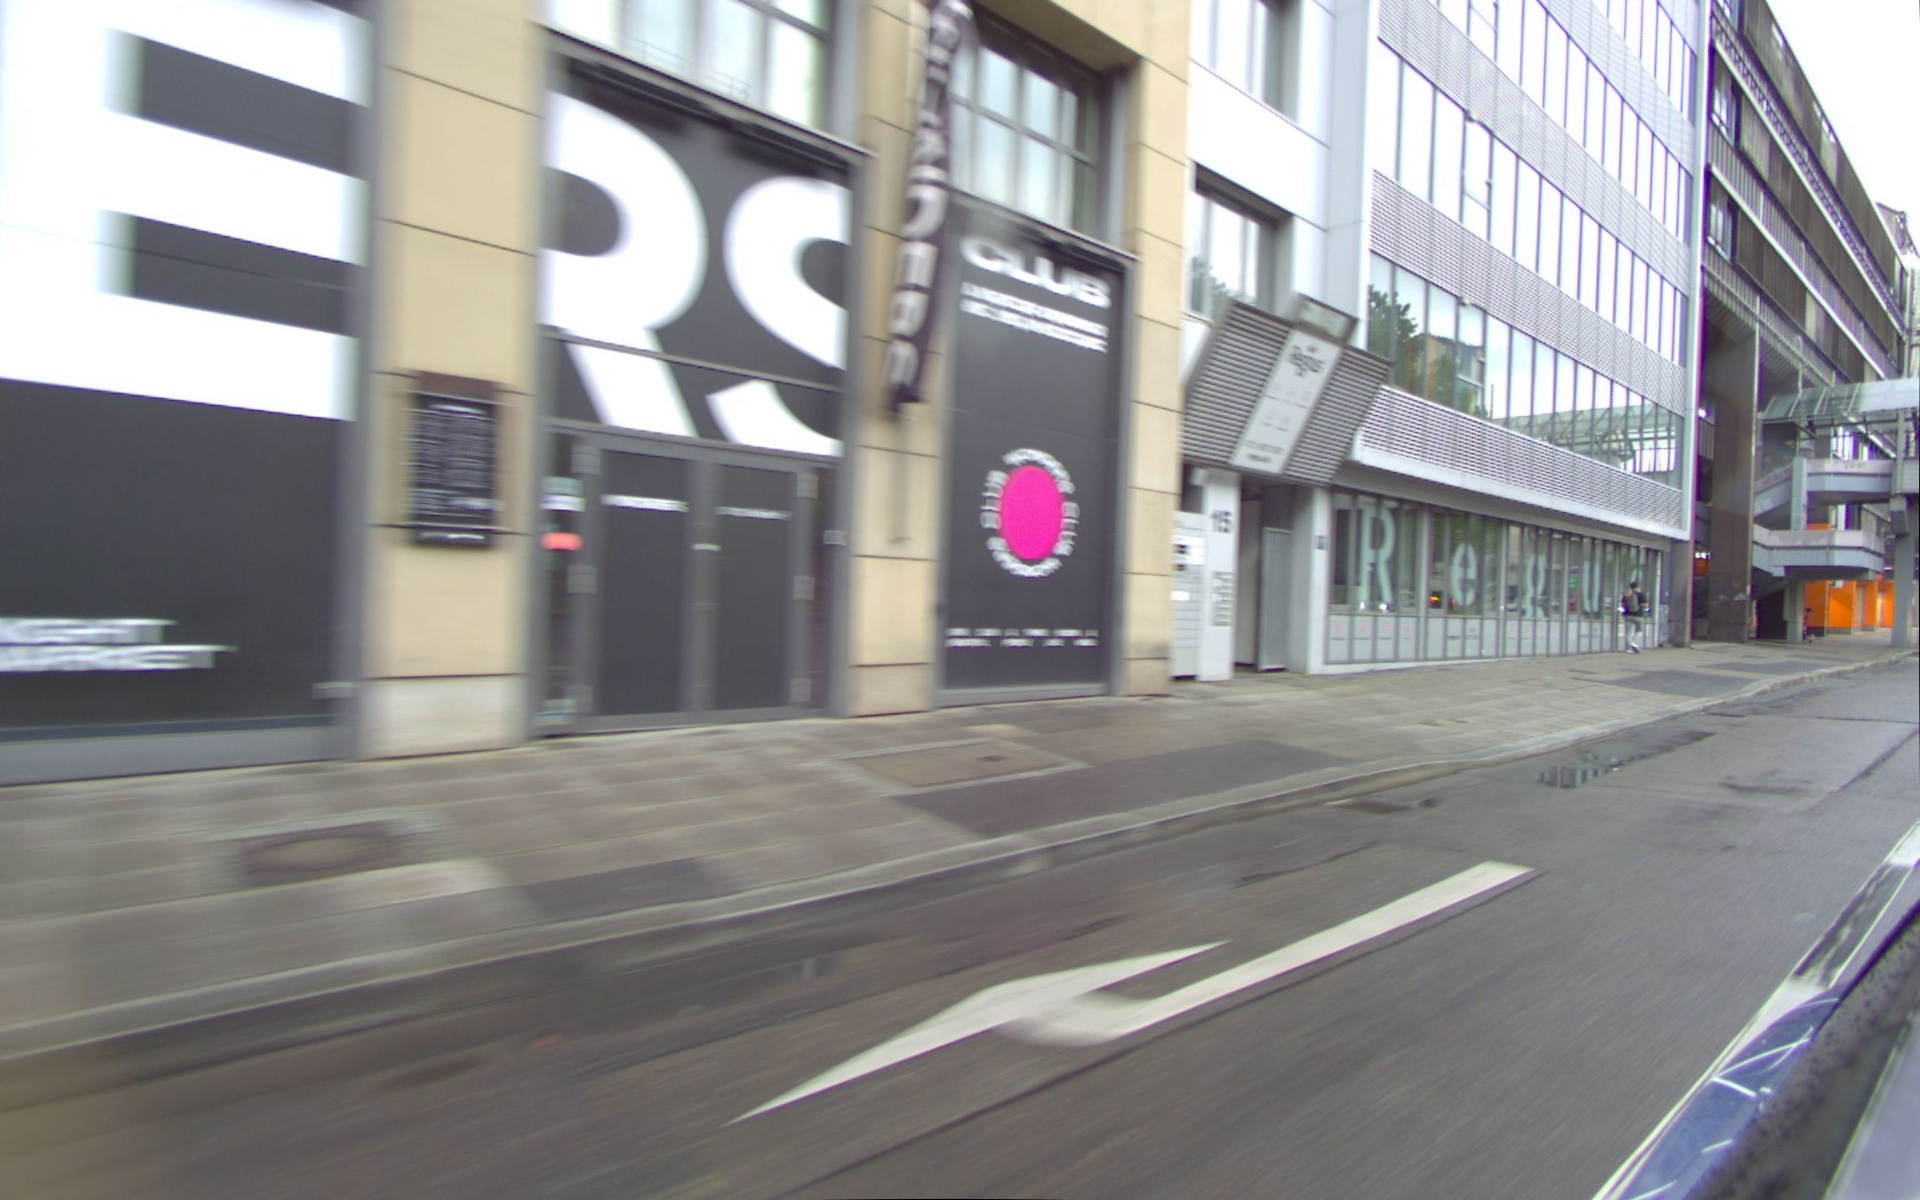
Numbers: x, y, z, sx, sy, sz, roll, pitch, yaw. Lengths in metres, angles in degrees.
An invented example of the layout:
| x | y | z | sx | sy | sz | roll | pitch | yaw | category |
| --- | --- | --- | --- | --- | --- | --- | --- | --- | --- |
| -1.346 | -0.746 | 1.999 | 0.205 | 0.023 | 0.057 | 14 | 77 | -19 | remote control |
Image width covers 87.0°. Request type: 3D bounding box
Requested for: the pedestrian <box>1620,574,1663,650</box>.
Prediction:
| x | y | z | sx | sy | sz | roll | pitch | yaw | category |
| --- | --- | --- | --- | --- | --- | --- | --- | --- | --- |
| 17.027 | 0.296 | 25.283 | 0.751 | 1.855 | 0.728 | 1 | 0 | -41 | pedestrian |

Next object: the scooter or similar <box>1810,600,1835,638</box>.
| x | y | z | sx | sy | sz | roll | pitch | yaw | category |
| --- | --- | --- | --- | --- | --- | --- | --- | --- | --- |
| 30.533 | 0.667 | 35.829 | 0.468 | 1.289 | 1.292 | 1 | 0 | 32 | scooter or similar |
